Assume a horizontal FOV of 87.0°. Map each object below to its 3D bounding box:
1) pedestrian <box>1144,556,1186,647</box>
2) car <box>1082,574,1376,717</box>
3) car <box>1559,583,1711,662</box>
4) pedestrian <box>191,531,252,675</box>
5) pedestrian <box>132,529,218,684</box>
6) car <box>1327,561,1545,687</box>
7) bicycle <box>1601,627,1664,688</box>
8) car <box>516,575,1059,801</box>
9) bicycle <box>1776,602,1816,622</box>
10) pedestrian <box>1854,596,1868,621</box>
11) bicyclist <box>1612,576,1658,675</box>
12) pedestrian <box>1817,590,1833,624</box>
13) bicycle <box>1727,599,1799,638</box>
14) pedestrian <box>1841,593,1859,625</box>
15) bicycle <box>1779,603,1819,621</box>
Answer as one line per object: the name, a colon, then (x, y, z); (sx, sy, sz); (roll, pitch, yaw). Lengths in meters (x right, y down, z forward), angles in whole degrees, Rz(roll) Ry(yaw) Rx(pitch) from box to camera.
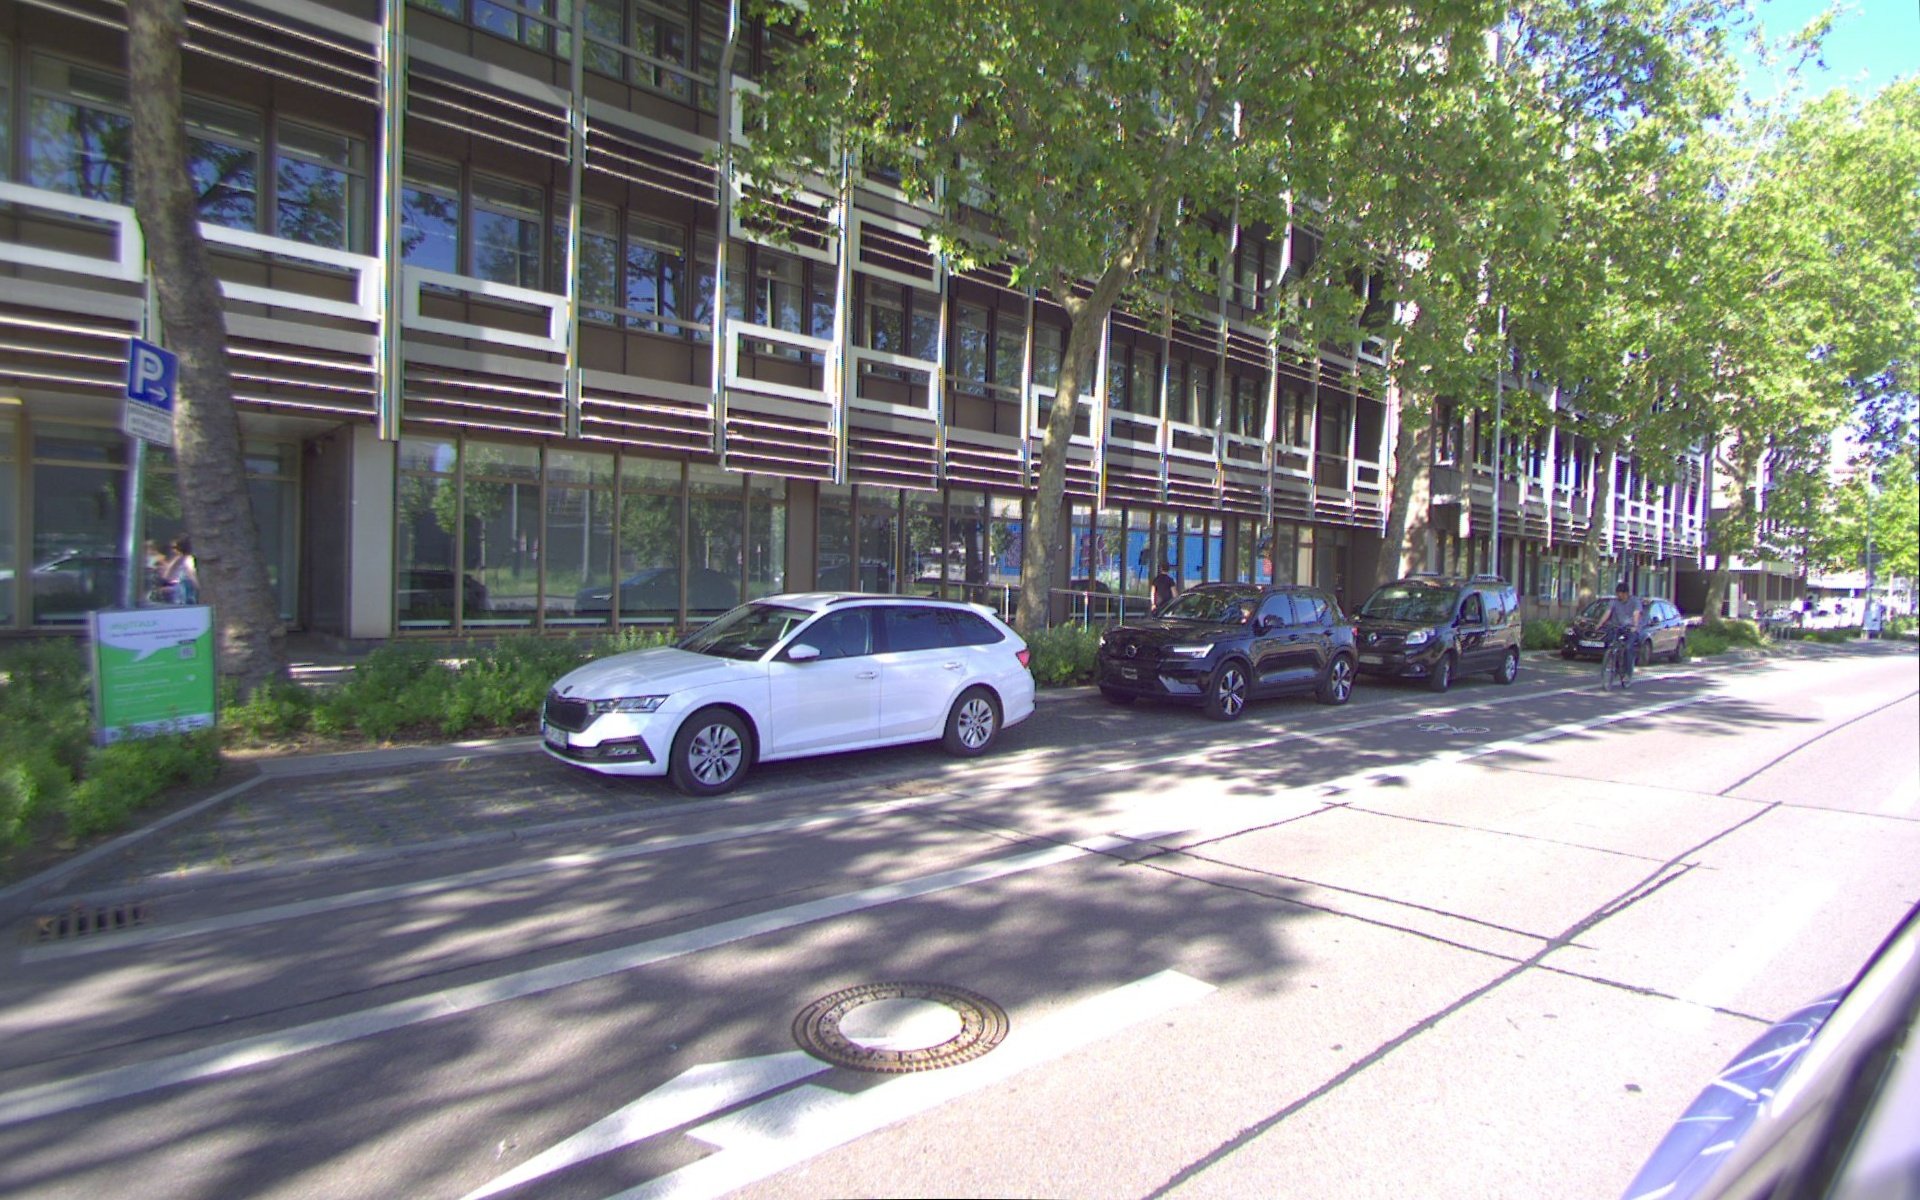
pedestrian: (4.467, 0.023, 22.046); (0.547, 1.941, 0.678); (0, 0, -40)
car: (3.635, 0.492, 13.301); (4.119, 1.583, 1.707); (0, 1, -41)
car: (16.342, 0.498, 24.416); (4.552, 1.663, 1.709); (1, 3, -39)
pedestrian: (-8.438, 0.035, 11.566); (0.314, 1.604, 0.494); (1, 0, 40)
pedestrian: (-8.426, 0.065, 10.865); (0.505, 1.604, 0.626); (1, 0, 41)
car: (8.054, 0.338, 16.965); (4.118, 1.811, 1.708); (1, 3, -41)
bicycle: (11.263, 0.935, 16.922); (0.497, 0.917, 2.161); (0, 0, 44)
car: (-1.306, 0.592, 8.977); (4.519, 1.511, 1.707); (0, 1, -41)
bicycle: (53.067, 0.729, 64.269); (0.419, 1.111, 1.863); (1, 3, -39)
pedestrian: (54.719, 0.504, 61.452); (0.723, 1.493, 0.511); (1, 1, -42)
bicyclist: (11.408, 0.420, 17.104); (0.513, 1.621, 0.528); (2, 1, 44)
pedestrian: (44.443, 0.367, 52.013); (0.760, 1.722, 0.511); (1, 1, -42)
bicycle: (29.363, 0.659, 37.023); (0.569, 1.252, 1.939); (1, 3, -43)
pedestrian: (49.251, 0.514, 55.983); (0.789, 1.749, 0.648); (1, 1, -42)
bicycle: (54.081, 0.754, 65.254); (0.419, 1.023, 1.863); (1, 3, -39)
